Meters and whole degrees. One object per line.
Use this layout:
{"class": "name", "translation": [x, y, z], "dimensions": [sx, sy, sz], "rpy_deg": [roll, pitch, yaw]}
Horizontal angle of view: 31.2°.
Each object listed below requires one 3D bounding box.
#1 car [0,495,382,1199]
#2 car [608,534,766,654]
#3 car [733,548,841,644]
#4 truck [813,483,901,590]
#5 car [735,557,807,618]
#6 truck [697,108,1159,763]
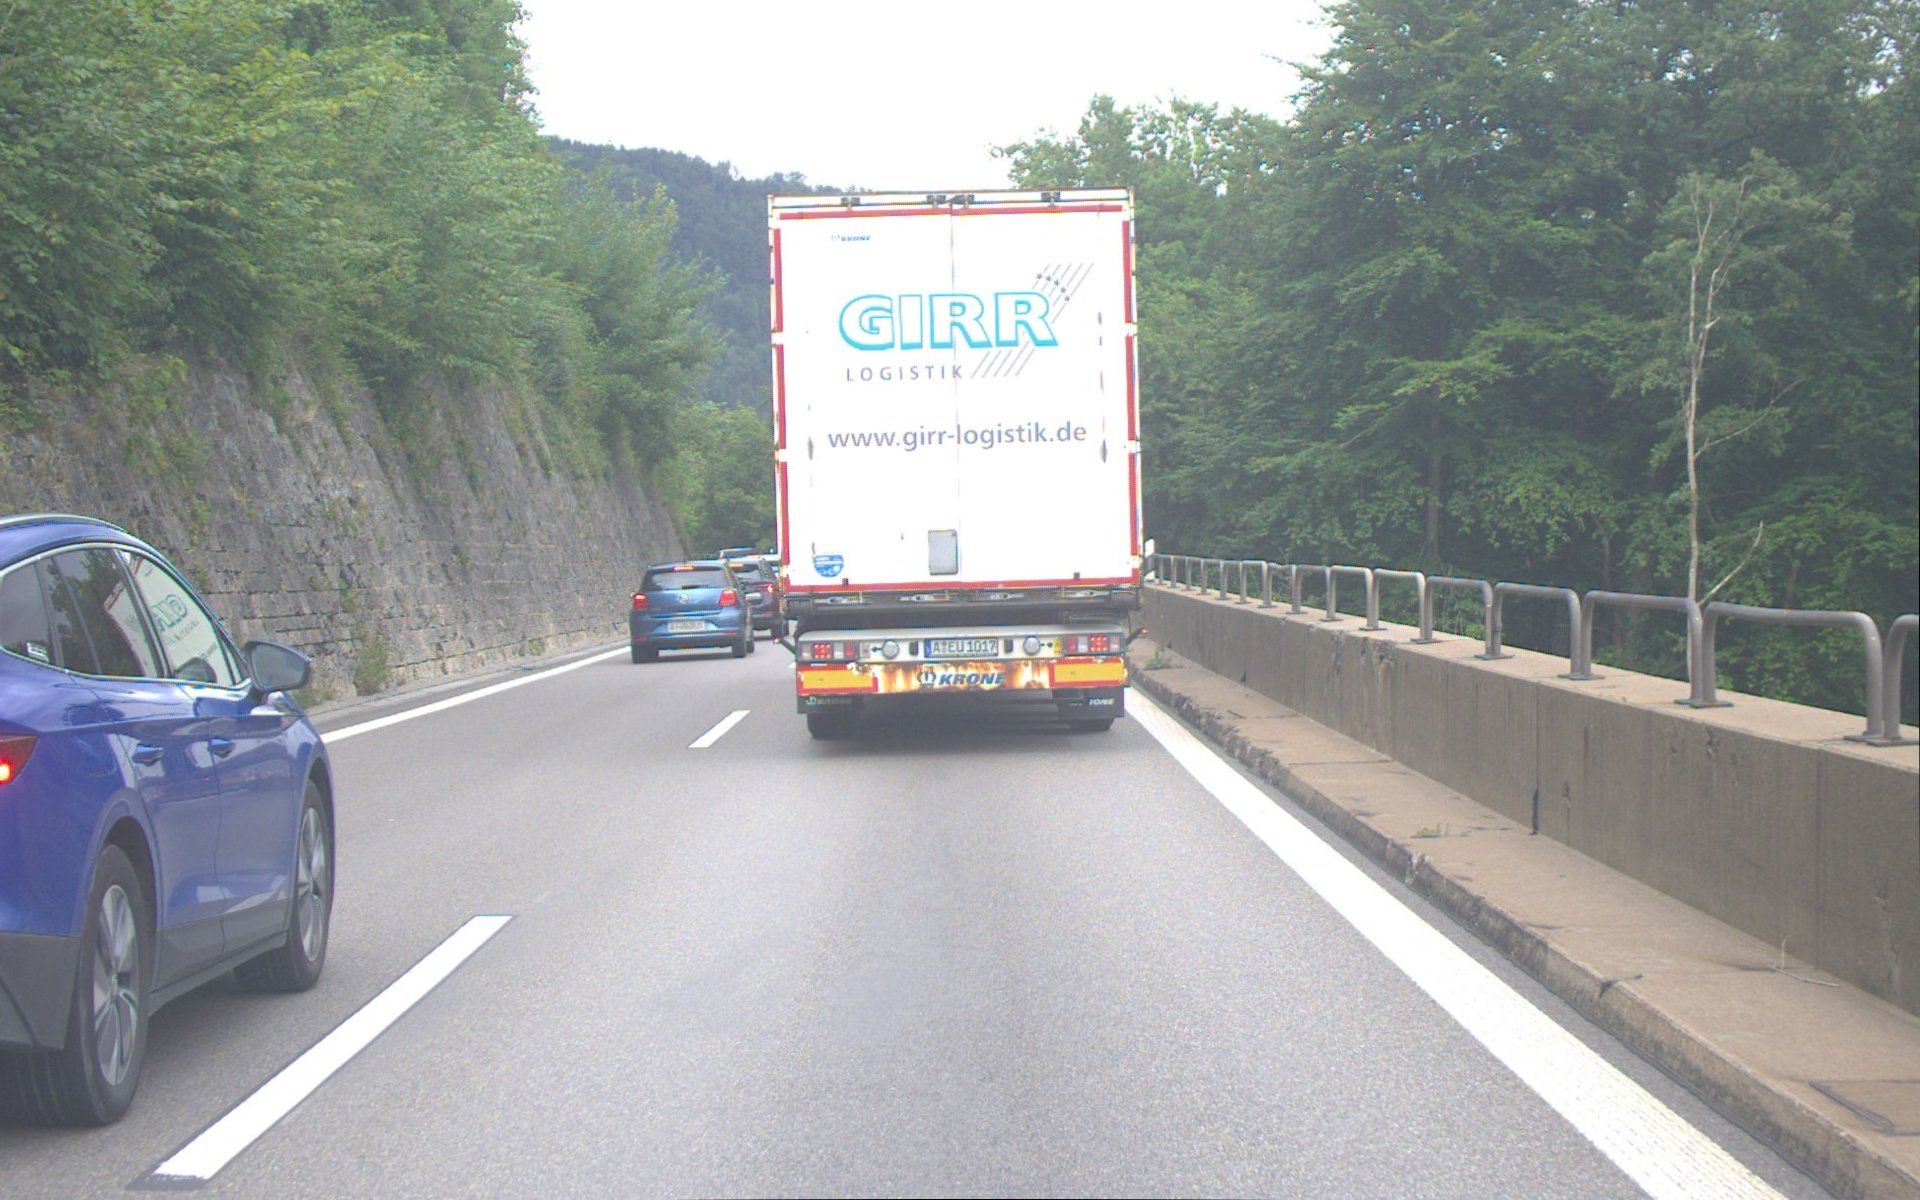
{"class": "car", "translation": [-3.143, 0.527, 10.264], "dimensions": [1.993, 1.626, 5.009], "rpy_deg": [0, 1, 0]}
{"class": "car", "translation": [-3.974, -0.090, 50.649], "dimensions": [1.993, 1.590, 4.354], "rpy_deg": [-3, 0, -1]}
{"class": "car", "translation": [-3.043, -0.075, 60.973], "dimensions": [1.745, 1.581, 4.000], "rpy_deg": [2, 0, -1]}
{"class": "truck", "translation": [-4.028, -2.418, 131.908], "dimensions": [2.634, 3.844, 12.361], "rpy_deg": [1, 1, -5]}
{"class": "car", "translation": [-4.767, -0.335, 86.880], "dimensions": [1.745, 1.481, 4.001], "rpy_deg": [1, 1, -3]}
{"class": "truck", "translation": [-0.217, -1.318, 31.325], "dimensions": [3.084, 4.448, 15.156], "rpy_deg": [-1, 1, 0]}
